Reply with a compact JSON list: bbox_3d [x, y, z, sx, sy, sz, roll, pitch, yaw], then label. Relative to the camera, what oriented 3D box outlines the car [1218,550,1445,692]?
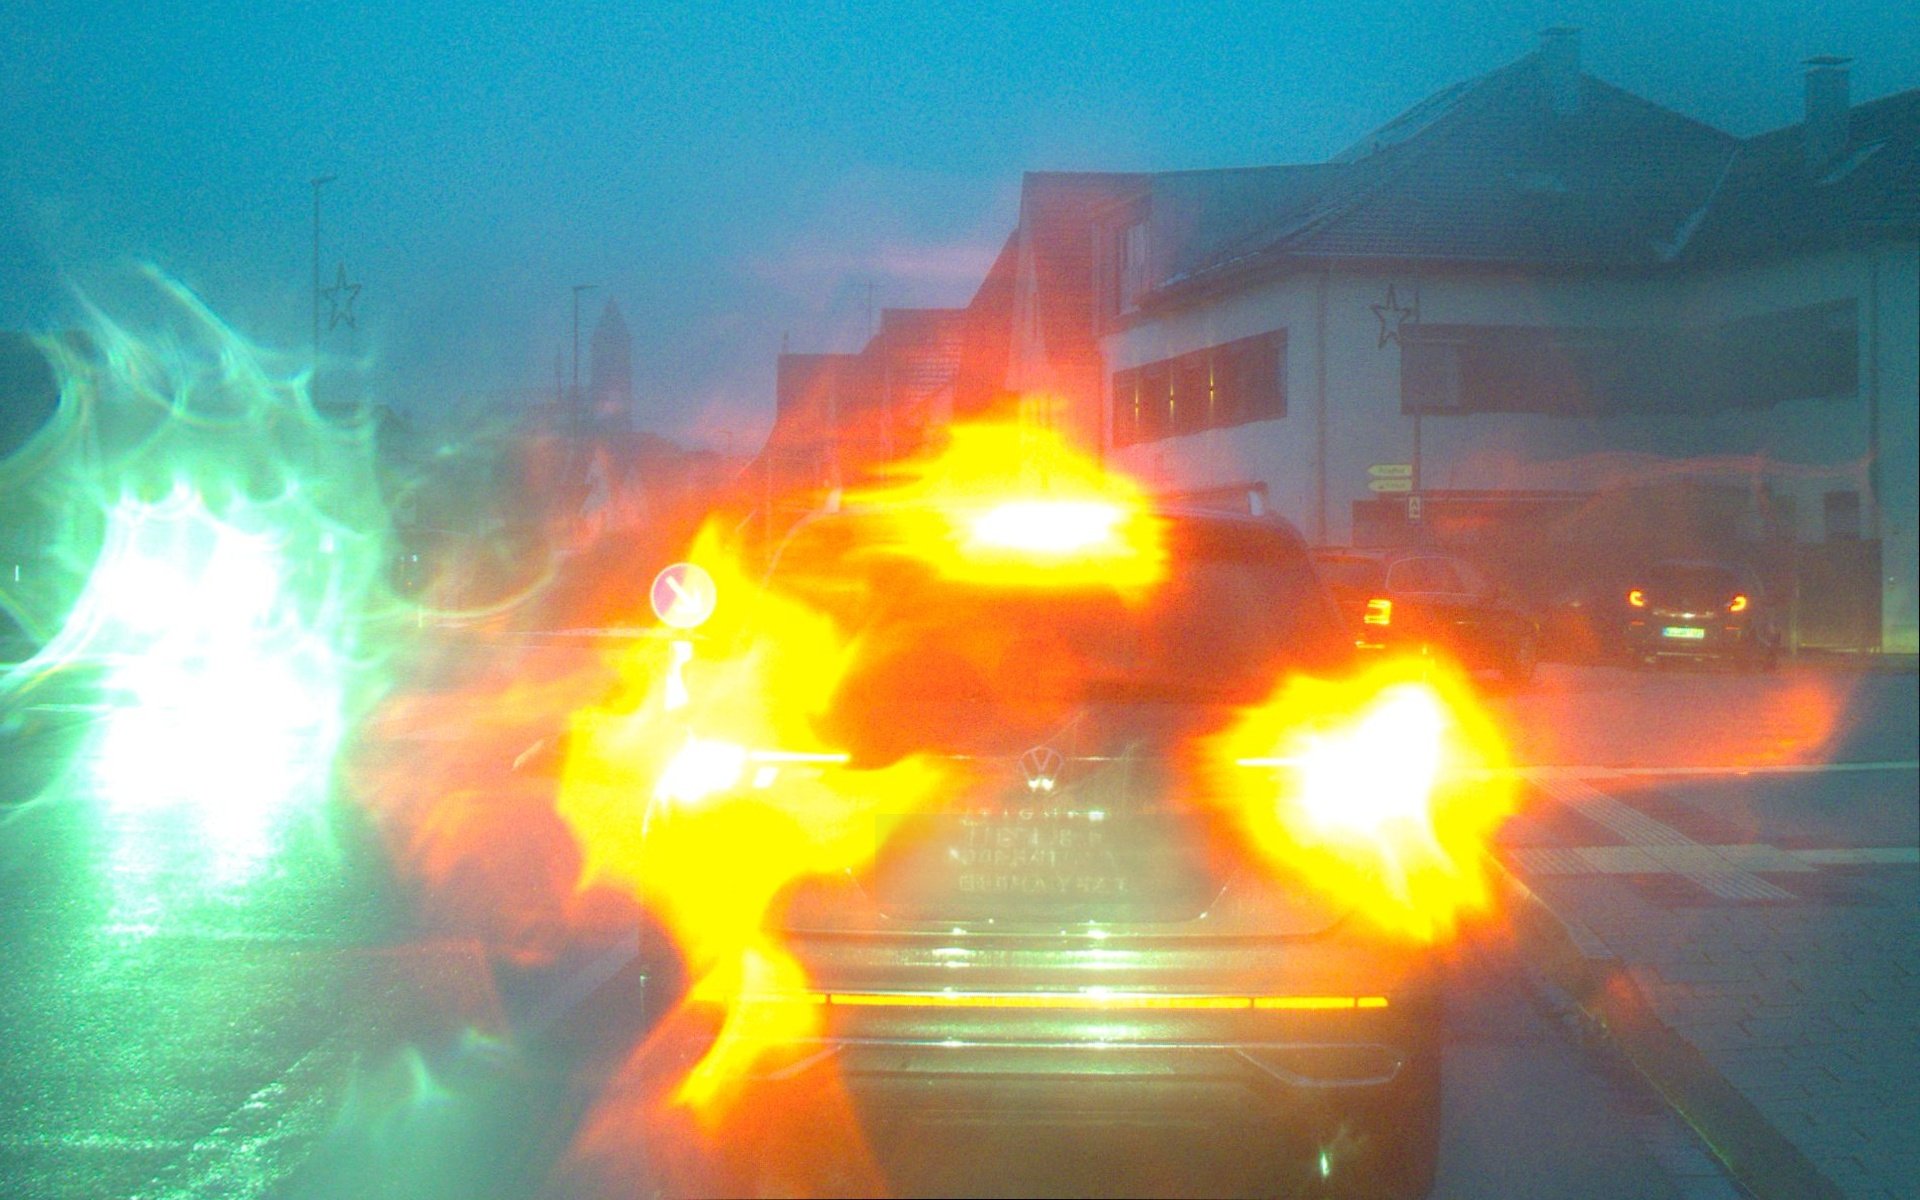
[{"bbox_3d":[3.976,0.179,36.285,1.994,1.387,3.998,0,1,12],"label":"car"}]

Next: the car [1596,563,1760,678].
[{"bbox_3d":[9.449,0.267,45.486,1.994,1.413,3.998,-1,0,10],"label":"car"}]

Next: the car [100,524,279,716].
[{"bbox_3d":[-9.562,0.223,42.704,1.993,2.196,4.419,2,0,-13],"label":"car"}]

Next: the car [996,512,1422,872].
[{"bbox_3d":[1.044,0.342,16.122,1.682,1.448,4.000,1,1,0],"label":"car"}]

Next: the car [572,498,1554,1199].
[{"bbox_3d":[0.207,0.569,9.136,1.964,1.589,4.313,1,1,0],"label":"car"}]
